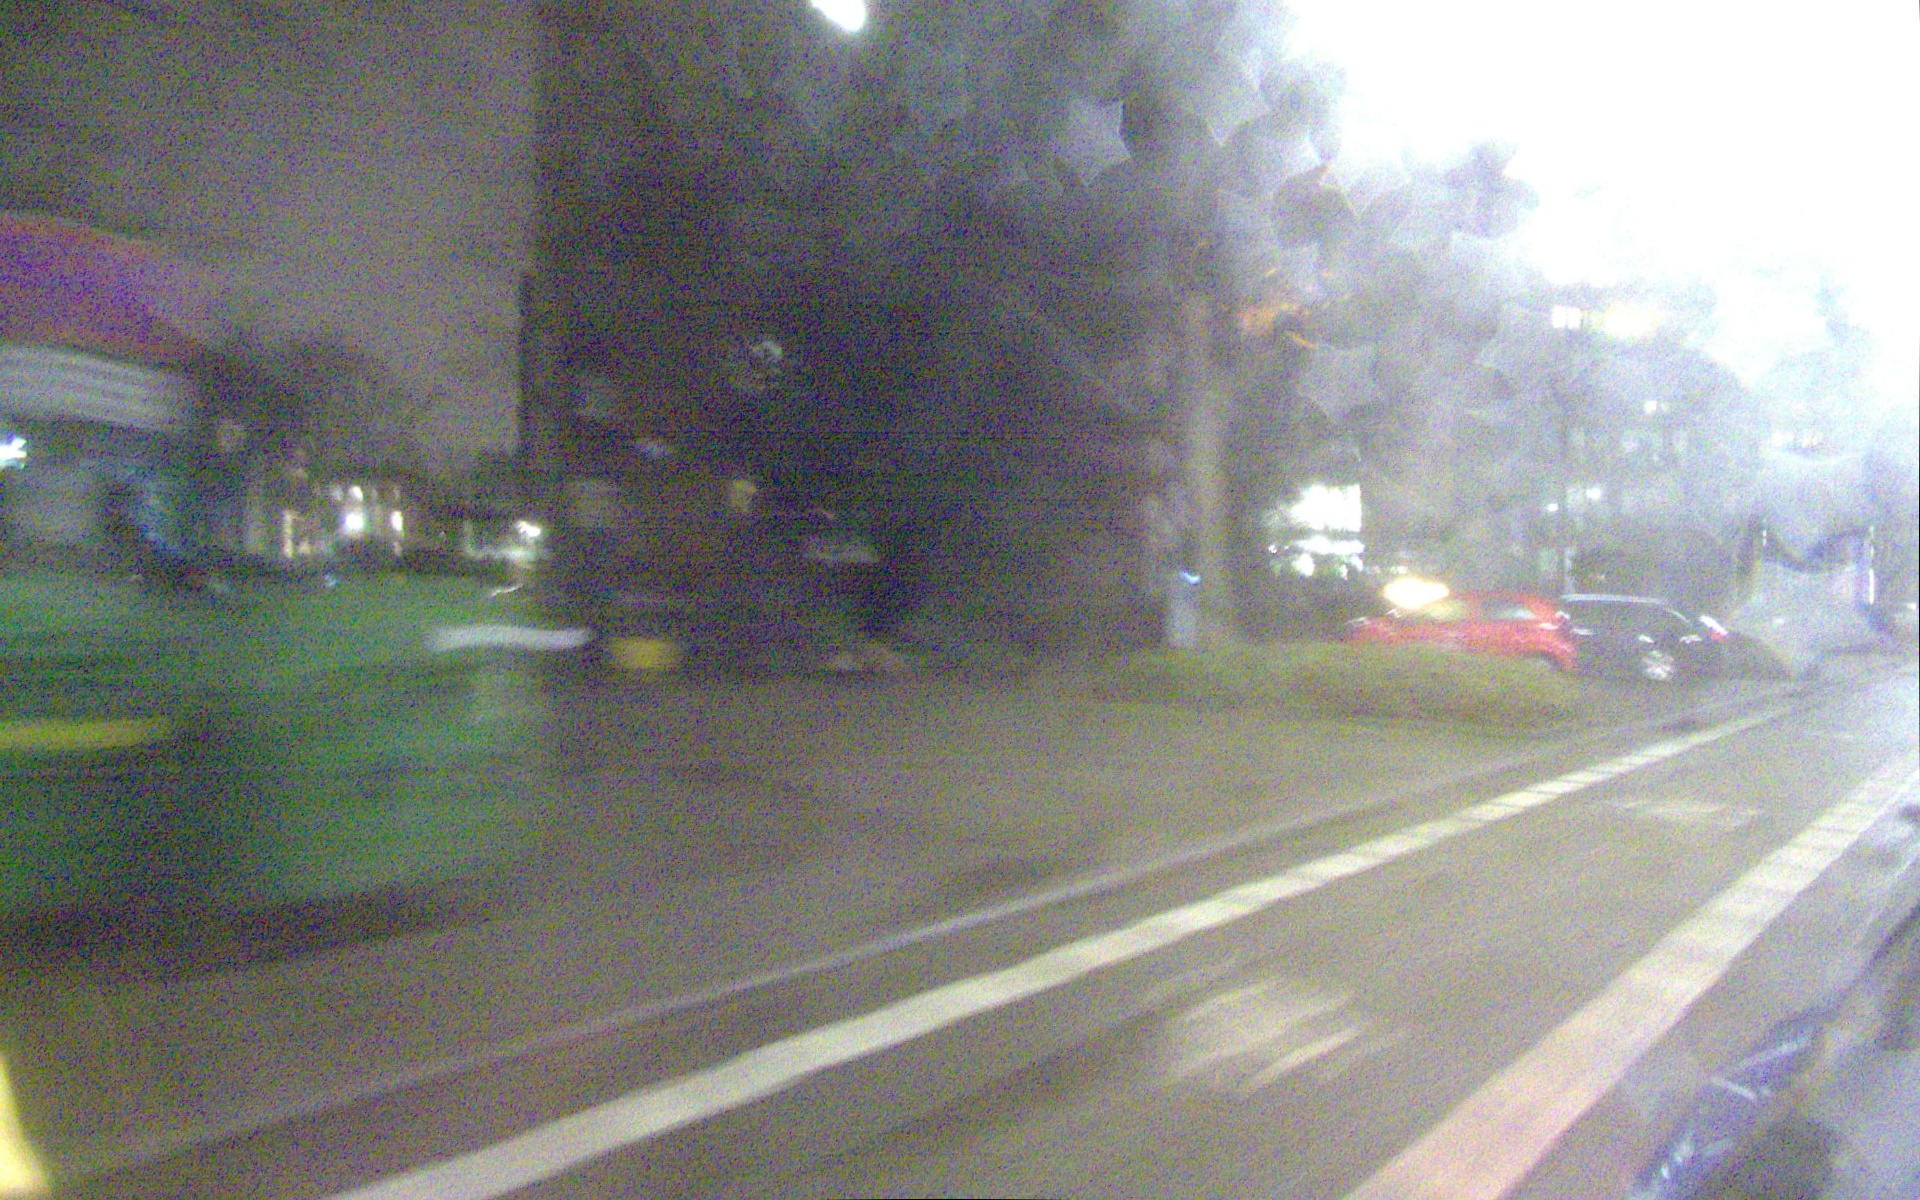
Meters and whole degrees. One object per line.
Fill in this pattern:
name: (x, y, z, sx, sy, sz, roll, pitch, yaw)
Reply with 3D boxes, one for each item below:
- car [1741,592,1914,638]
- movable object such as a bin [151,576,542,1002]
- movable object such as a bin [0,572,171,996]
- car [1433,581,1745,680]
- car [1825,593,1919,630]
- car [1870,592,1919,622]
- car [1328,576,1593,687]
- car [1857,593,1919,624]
car: (30.166, 0.492, 35.311, 4.273, 1.486, 1.676, 1, 1, 11)
movable object such as a bin: (-2.636, 0.630, 4.337, 1.322, 1.425, 1.141, 3, 3, 44)
movable object such as a bin: (-3.774, 0.628, 3.905, 1.080, 1.440, 1.212, 0, 3, -35)
car: (11.188, 0.459, 18.369, 4.562, 1.493, 1.820, 2, 2, 30)
car: (39.785, 0.466, 43.394, 3.835, 1.531, 1.711, 0, 1, 3)
car: (49.477, 0.370, 51.841, 4.108, 1.501, 1.662, 0, -1, 1)
car: (8.096, 0.425, 16.500, 3.676, 1.536, 1.640, 2, 2, 31)
car: (45.253, 0.390, 47.655, 4.185, 1.435, 1.781, 0, 1, 8)
